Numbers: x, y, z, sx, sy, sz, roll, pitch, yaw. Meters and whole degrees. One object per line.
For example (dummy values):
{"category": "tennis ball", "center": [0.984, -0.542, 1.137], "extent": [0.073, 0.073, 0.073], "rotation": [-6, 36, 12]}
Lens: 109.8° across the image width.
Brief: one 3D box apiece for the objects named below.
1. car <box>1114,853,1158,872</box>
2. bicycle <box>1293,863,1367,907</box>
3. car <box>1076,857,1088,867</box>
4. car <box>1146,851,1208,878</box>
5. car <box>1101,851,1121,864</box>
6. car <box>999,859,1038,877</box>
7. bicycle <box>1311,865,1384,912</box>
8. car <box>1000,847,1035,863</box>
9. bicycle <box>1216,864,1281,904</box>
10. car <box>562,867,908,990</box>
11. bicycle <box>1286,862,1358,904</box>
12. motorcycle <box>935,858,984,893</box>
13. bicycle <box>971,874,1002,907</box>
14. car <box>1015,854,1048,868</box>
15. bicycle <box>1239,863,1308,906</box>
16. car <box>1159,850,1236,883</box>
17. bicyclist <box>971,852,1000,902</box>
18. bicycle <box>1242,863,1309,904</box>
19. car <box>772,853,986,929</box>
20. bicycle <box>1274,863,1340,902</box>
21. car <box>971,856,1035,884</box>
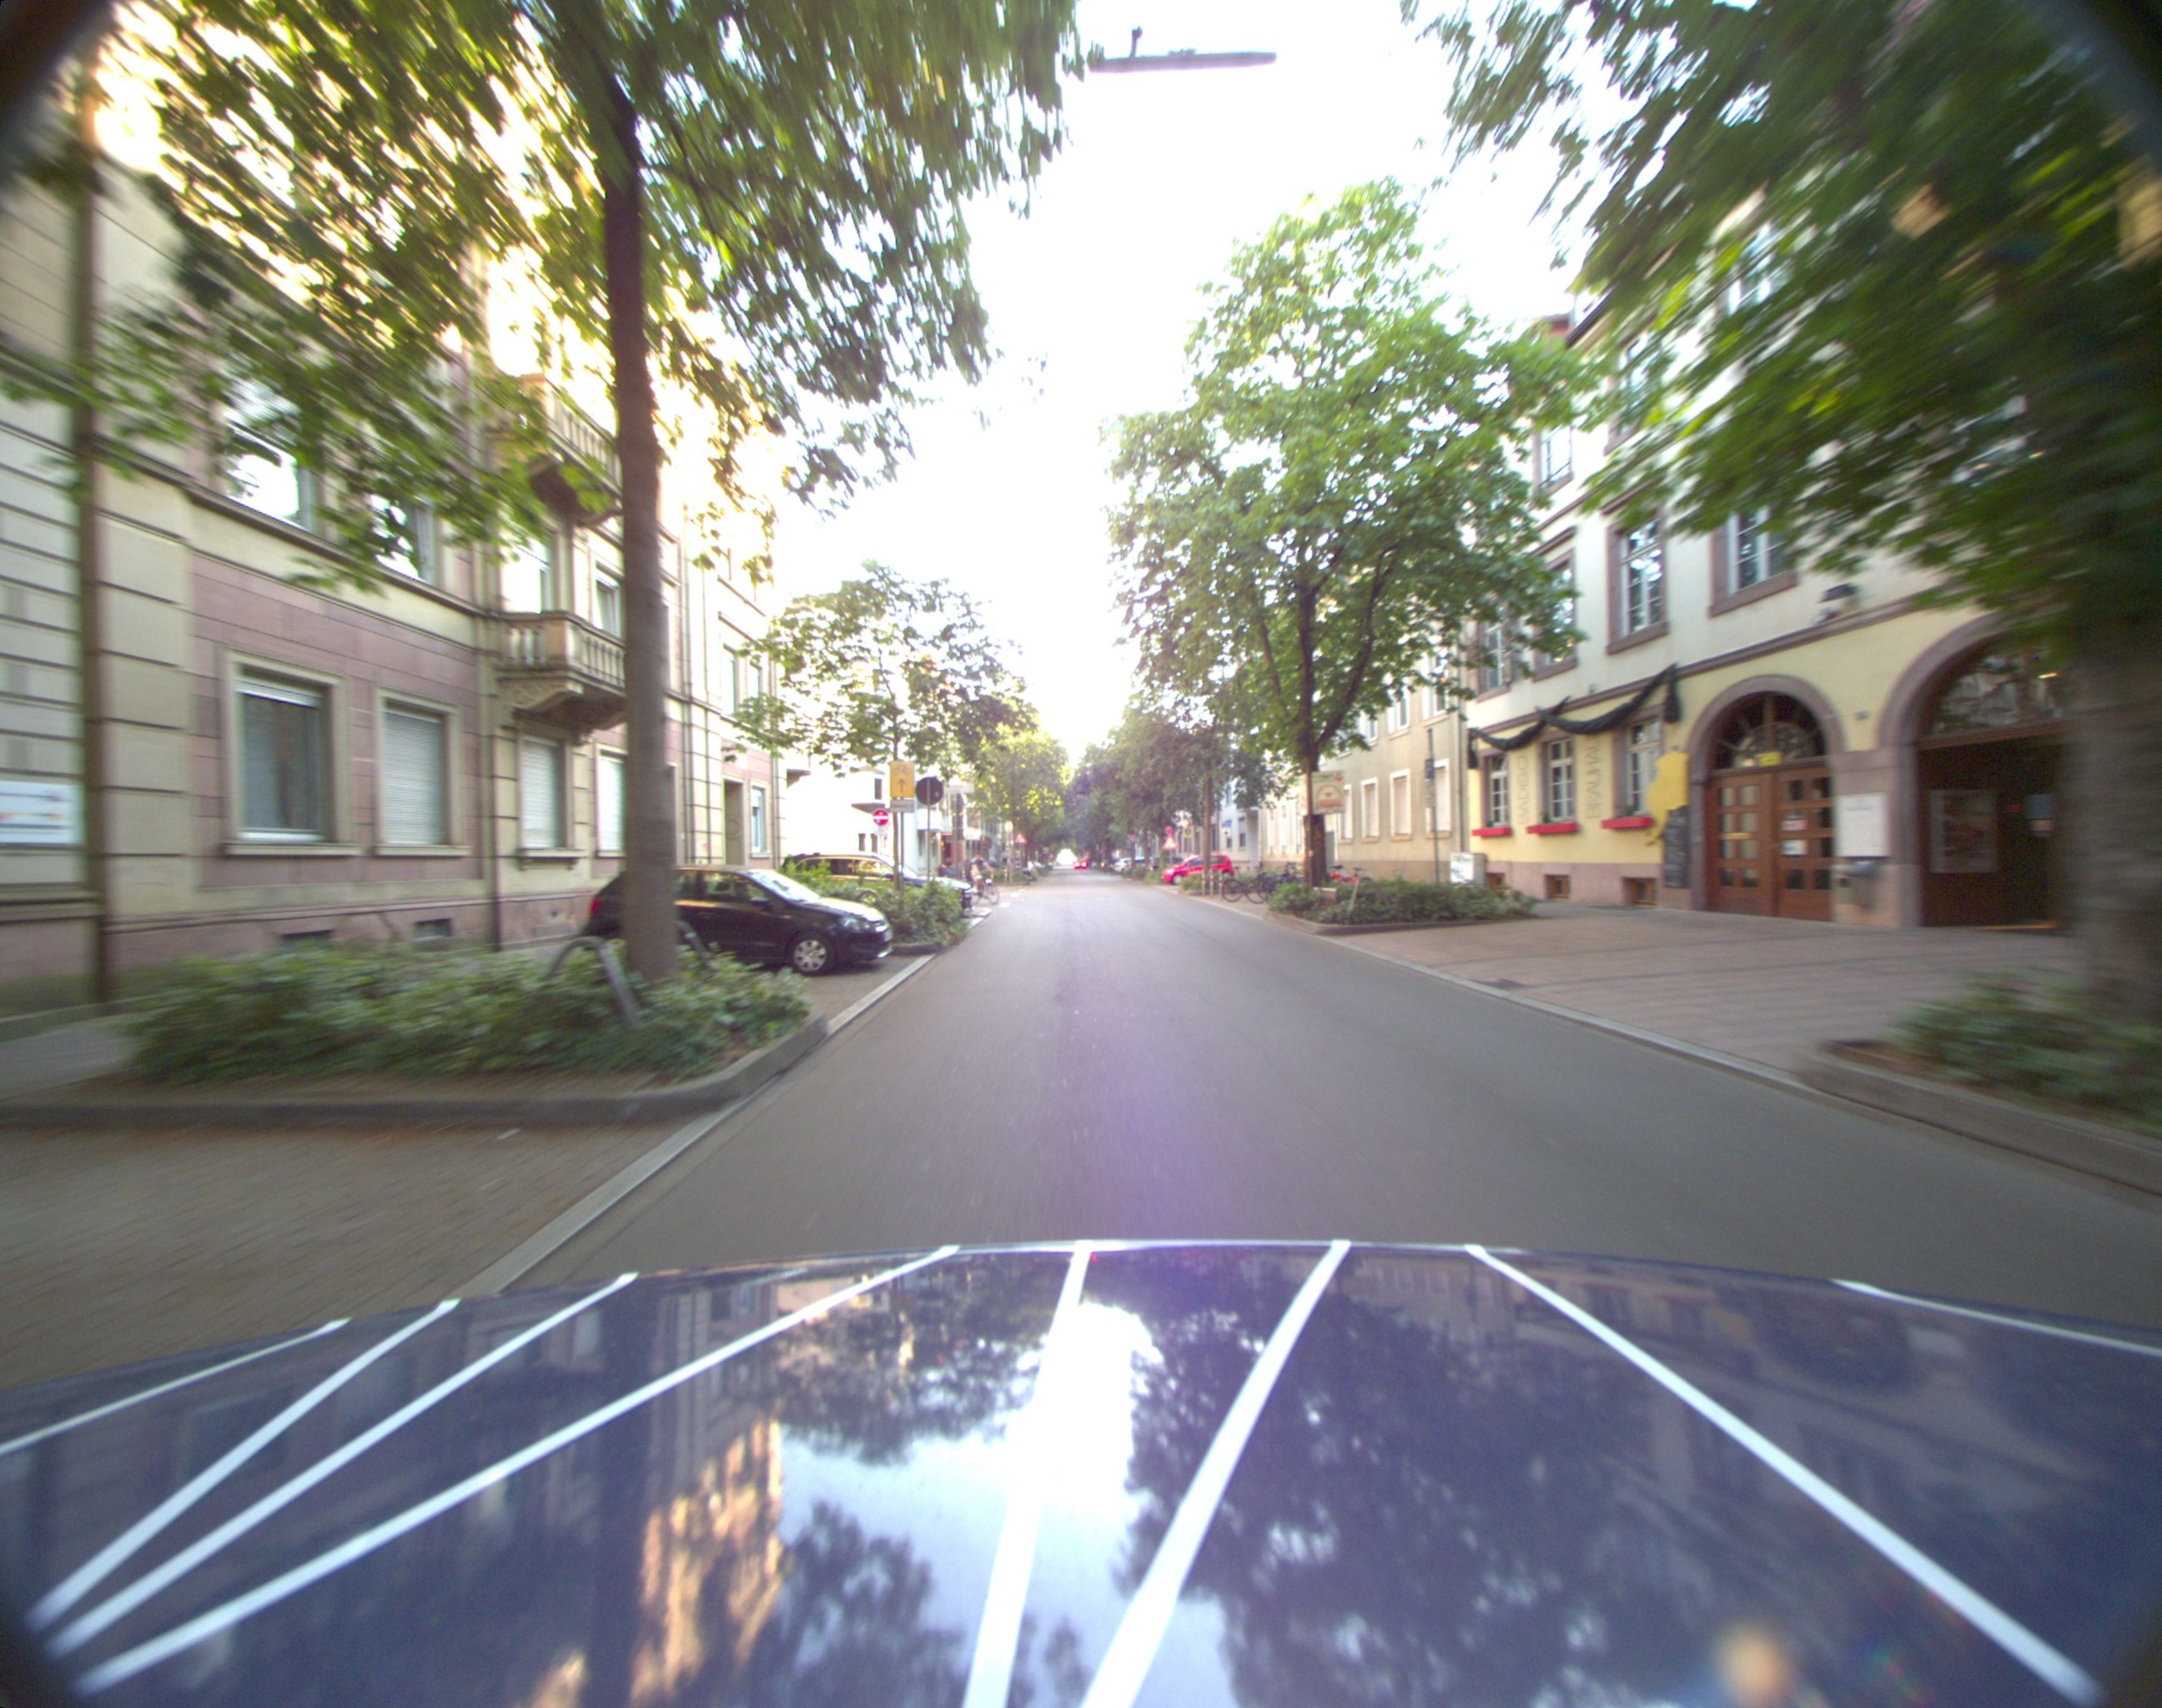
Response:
{"category": "car", "center": [4.720, 0.731, 65.510], "extent": [3.552, 1.411, 1.590], "rotation": [-4, 0, -1]}
{"category": "bicycle", "center": [6.877, 0.837, 21.021], "extent": [1.869, 1.093, 0.480], "rotation": [-3, 1, -7]}
{"category": "car", "center": [0.154, 1.303, 118.463], "extent": [1.673, 1.411, 3.554], "rotation": [-4, 0, -1]}
{"category": "car", "center": [5.936, 0.652, 47.160], "extent": [3.553, 1.411, 1.590], "rotation": [-4, 0, -4]}
{"category": "car", "center": [3.388, 0.396, 87.061], "extent": [1.999, 1.368, 3.999], "rotation": [-3, 1, -1]}
{"category": "car", "center": [-6.066, 1.350, 73.630], "extent": [3.552, 1.411, 1.590], "rotation": [-4, 0, -1]}
{"category": "bicycle", "center": [6.851, 0.885, 19.565], "extent": [1.712, 1.093, 0.480], "rotation": [-3, 1, -7]}
{"category": "car", "center": [-6.805, 0.103, 81.863], "extent": [3.552, 1.411, 1.590], "rotation": [-4, 0, -1]}
{"category": "bicycle", "center": [5.150, 0.912, 23.397], "extent": [1.869, 1.092, 0.480], "rotation": [-3, 1, -8]}
{"category": "car", "center": [-4.516, 0.954, 10.407], "extent": [3.876, 1.419, 1.781], "rotation": [2, 0, -3]}
{"category": "bicycle", "center": [6.889, 0.817, 21.713], "extent": [1.869, 1.093, 0.509], "rotation": [-3, 1, -7]}
{"category": "motorcycle", "center": [-5.912, 1.036, 36.962], "extent": [2.248, 1.537, 0.772], "rotation": [-3, 1, -17]}
{"category": "bicycle", "center": [-3.198, 1.203, 25.534], "extent": [0.779, 0.967, 2.022], "rotation": [-2, 0, -14]}
{"category": "car", "center": [-6.091, 0.870, 93.249], "extent": [3.998, 1.565, 1.928], "rotation": [-1, 0, -3]}
{"category": "bicycle", "center": [5.615, 0.890, 22.221], "extent": [1.869, 1.138, 0.480], "rotation": [-3, 1, -8]}
{"category": "car", "center": [5.852, 0.629, 38.373], "extent": [3.498, 1.397, 1.672], "rotation": [-4, 0, -4]}
{"category": "bicyclist", "center": [-3.223, 0.768, 25.536], "extent": [0.754, 1.612, 1.146], "rotation": [-2, 0, -14]}
{"category": "bicycle", "center": [5.830, 0.878, 22.770], "extent": [1.869, 1.093, 0.480], "rotation": [-3, 1, -7]}
{"category": "car", "center": [-4.650, 0.827, 17.849], "extent": [4.421, 1.552, 1.867], "rotation": [2, 0, 6]}
{"category": "bicycle", "center": [7.023, 0.886, 23.632], "extent": [1.869, 1.093, 0.480], "rotation": [-3, 1, -7]}
{"category": "car", "center": [-5.388, 1.084, 52.605], "extent": [4.167, 1.665, 1.590], "rotation": [-4, 0, -1]}
